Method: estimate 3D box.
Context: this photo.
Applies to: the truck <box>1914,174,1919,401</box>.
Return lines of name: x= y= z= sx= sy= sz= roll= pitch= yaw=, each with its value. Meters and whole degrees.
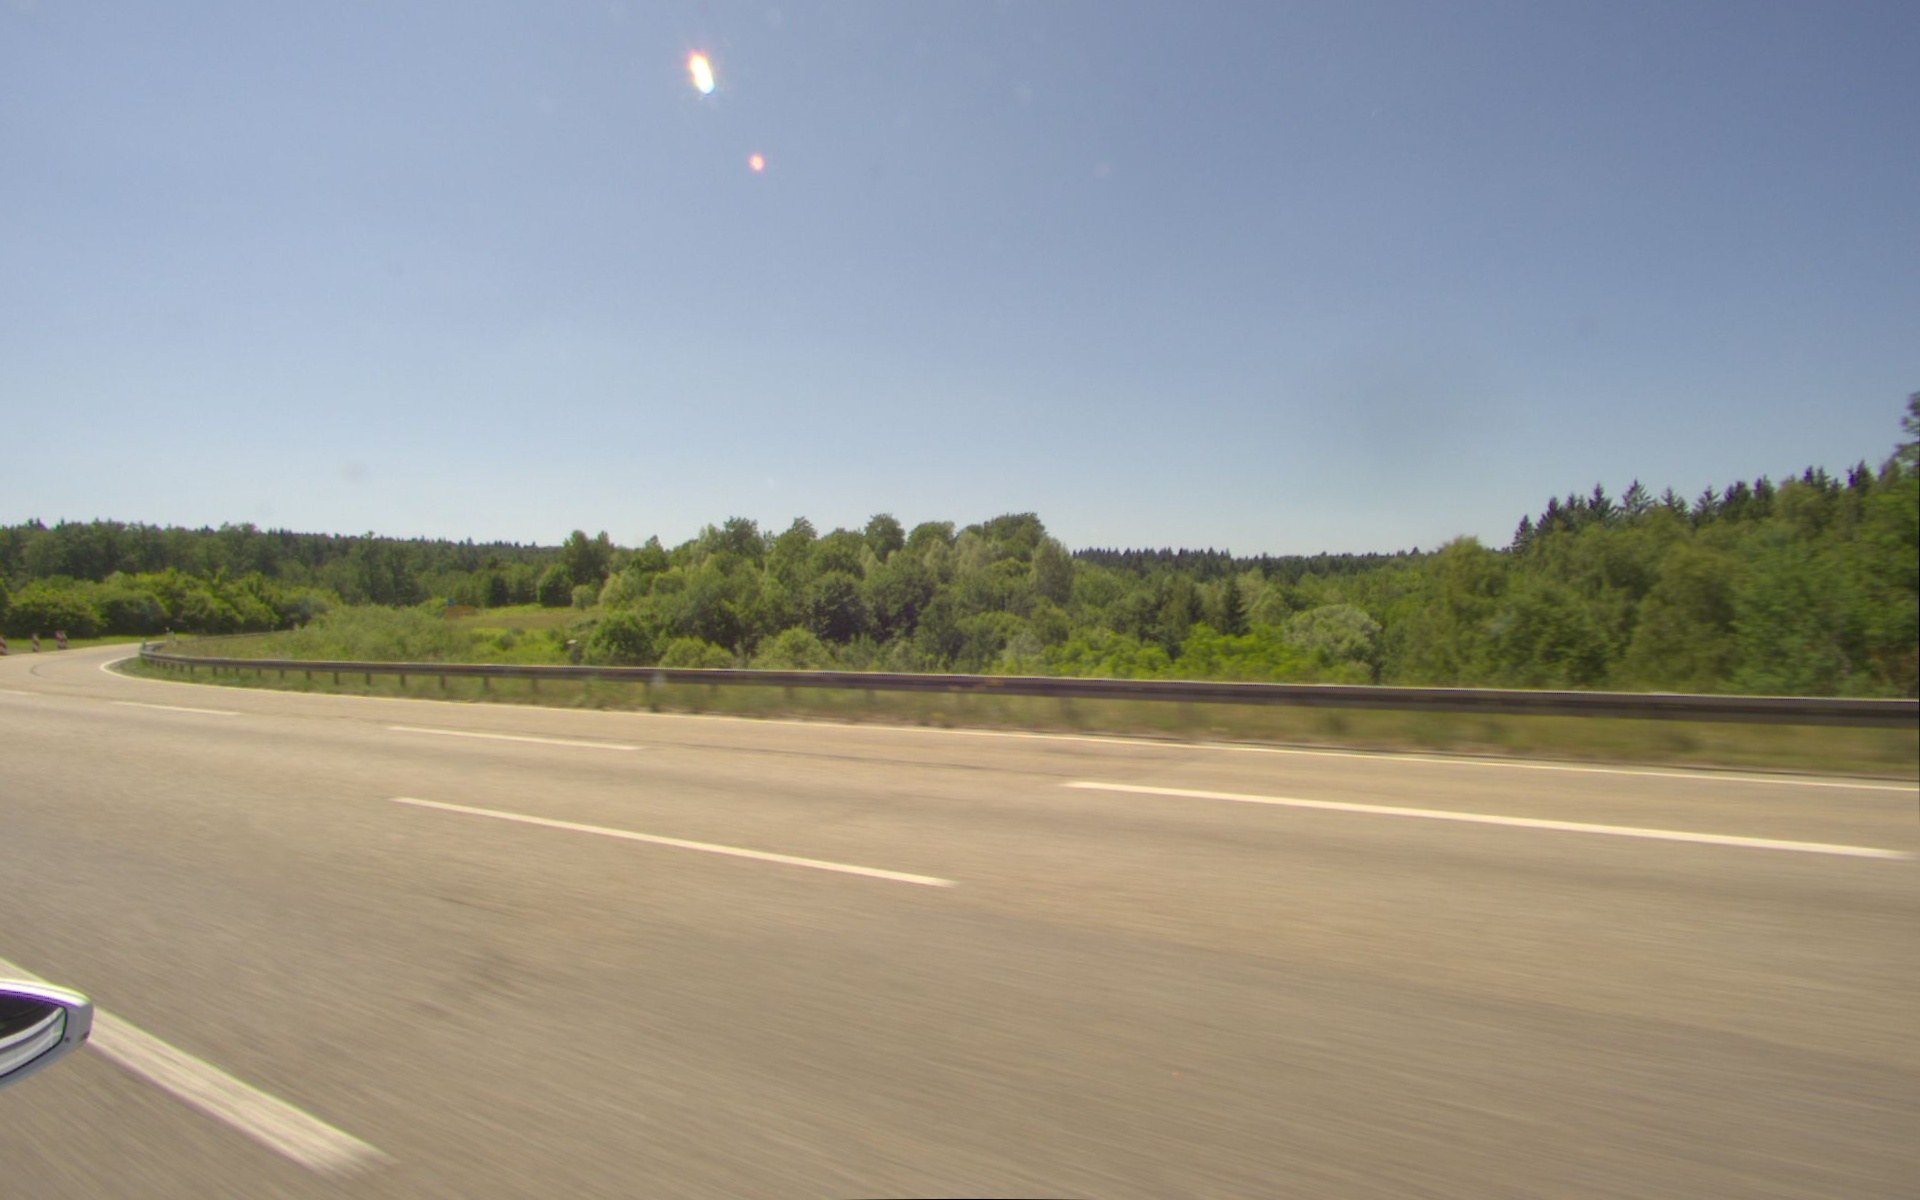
truck: x=9.196 y=-0.641 z=2.339 sx=9.600 sy=4.180 sz=2.779 roll=-2 pitch=-2 yaw=32
